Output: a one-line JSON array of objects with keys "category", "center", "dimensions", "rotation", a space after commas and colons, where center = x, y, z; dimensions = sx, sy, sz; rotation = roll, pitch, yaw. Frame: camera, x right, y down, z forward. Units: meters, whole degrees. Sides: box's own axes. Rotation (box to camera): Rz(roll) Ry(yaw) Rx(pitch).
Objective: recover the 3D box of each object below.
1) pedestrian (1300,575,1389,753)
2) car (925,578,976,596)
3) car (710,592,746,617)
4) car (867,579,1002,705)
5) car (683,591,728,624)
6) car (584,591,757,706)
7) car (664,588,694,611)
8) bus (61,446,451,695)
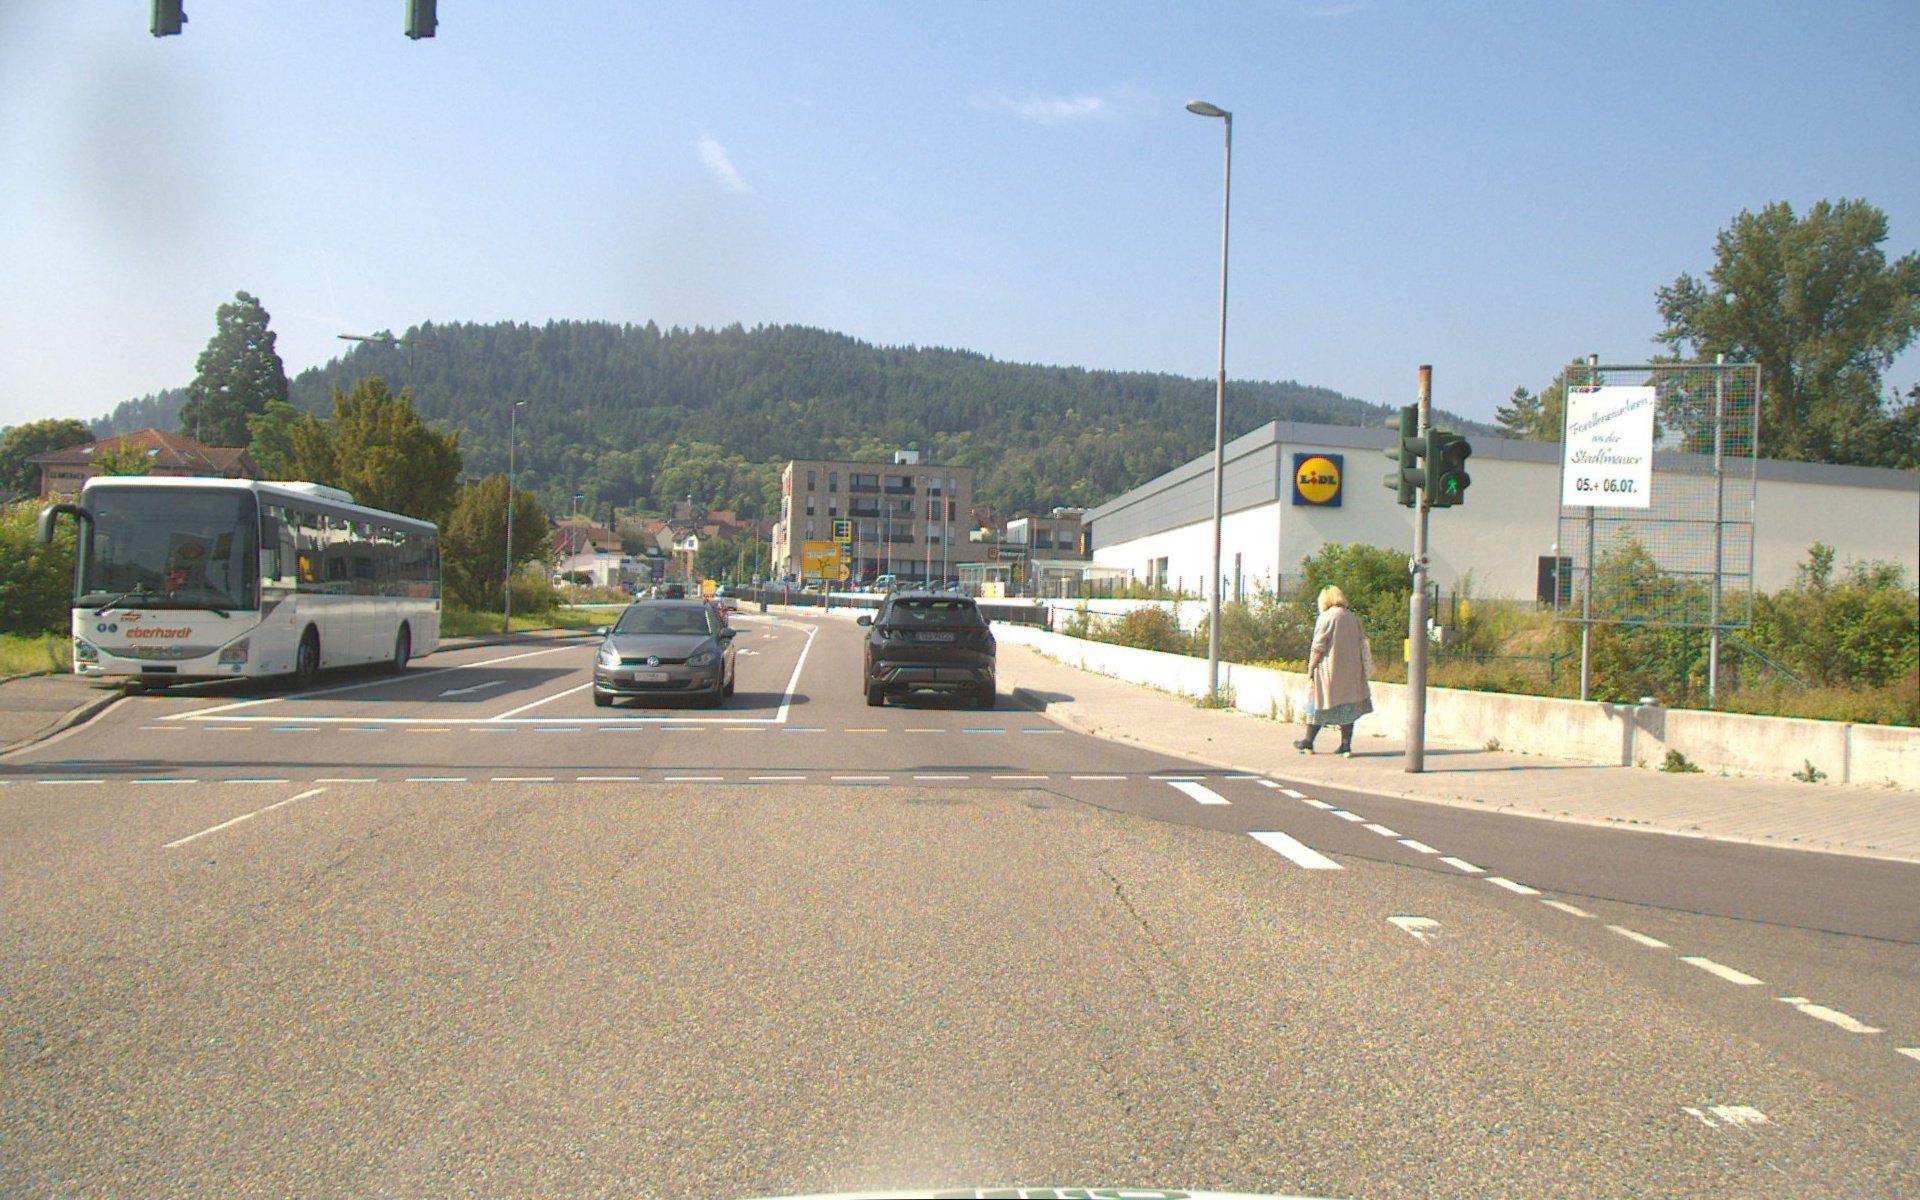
[{"category": "pedestrian", "center": [3.734, 0.613, 16.081], "dimensions": [0.696, 1.700, 0.593], "rotation": [1, 0, -4]}, {"category": "car", "center": [-0.812, -1.101, 140.489], "dimensions": [4.007, 1.428, 1.475], "rotation": [1, 1, -24]}, {"category": "car", "center": [-19.313, 0.352, 137.300], "dimensions": [1.967, 2.049, 3.971], "rotation": [1, 0, -24]}, {"category": "car", "center": [-0.329, 0.585, 24.722], "dimensions": [1.842, 1.713, 4.000], "rotation": [1, 0, 1]}, {"category": "car", "center": [-11.922, 0.344, 77.677], "dimensions": [1.801, 1.518, 4.427], "rotation": [1, 0, -5]}, {"category": "car", "center": [-4.061, 0.641, 23.825], "dimensions": [1.736, 1.499, 4.219], "rotation": [1, 0, 0]}, {"category": "car", "center": [-25.450, -0.051, 150.004], "dimensions": [1.952, 2.049, 4.000], "rotation": [1, 0, 1]}, {"category": "bus", "center": [-11.412, -0.386, 28.504], "dimensions": [2.570, 3.368, 11.944], "rotation": [1, 0, -5]}]
